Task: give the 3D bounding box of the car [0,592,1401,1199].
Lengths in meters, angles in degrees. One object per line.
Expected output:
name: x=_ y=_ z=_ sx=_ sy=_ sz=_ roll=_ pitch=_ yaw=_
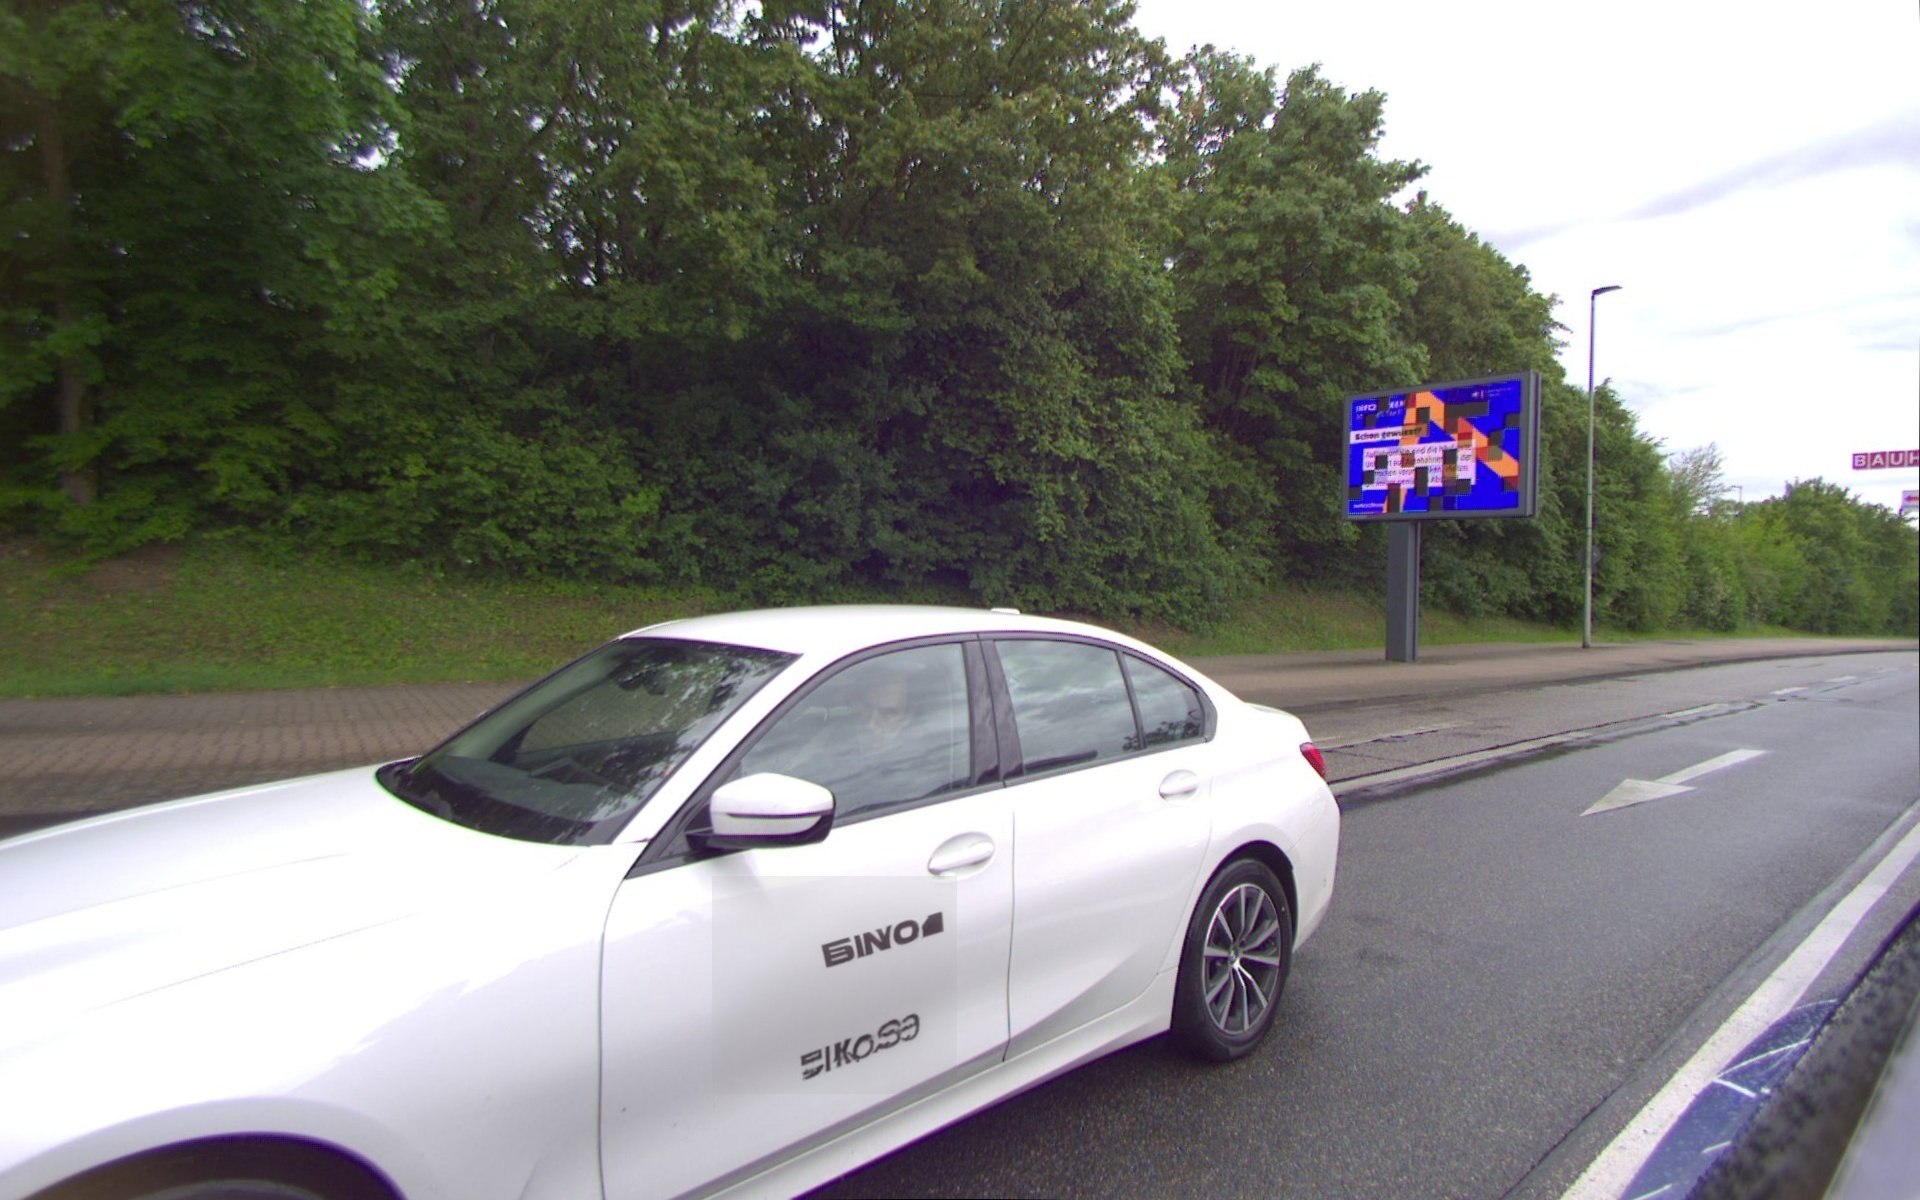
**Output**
car: x=-0.563 y=0.729 z=3.059 sx=4.600 sy=1.475 sz=1.782 roll=-1 pitch=1 yaw=-42
